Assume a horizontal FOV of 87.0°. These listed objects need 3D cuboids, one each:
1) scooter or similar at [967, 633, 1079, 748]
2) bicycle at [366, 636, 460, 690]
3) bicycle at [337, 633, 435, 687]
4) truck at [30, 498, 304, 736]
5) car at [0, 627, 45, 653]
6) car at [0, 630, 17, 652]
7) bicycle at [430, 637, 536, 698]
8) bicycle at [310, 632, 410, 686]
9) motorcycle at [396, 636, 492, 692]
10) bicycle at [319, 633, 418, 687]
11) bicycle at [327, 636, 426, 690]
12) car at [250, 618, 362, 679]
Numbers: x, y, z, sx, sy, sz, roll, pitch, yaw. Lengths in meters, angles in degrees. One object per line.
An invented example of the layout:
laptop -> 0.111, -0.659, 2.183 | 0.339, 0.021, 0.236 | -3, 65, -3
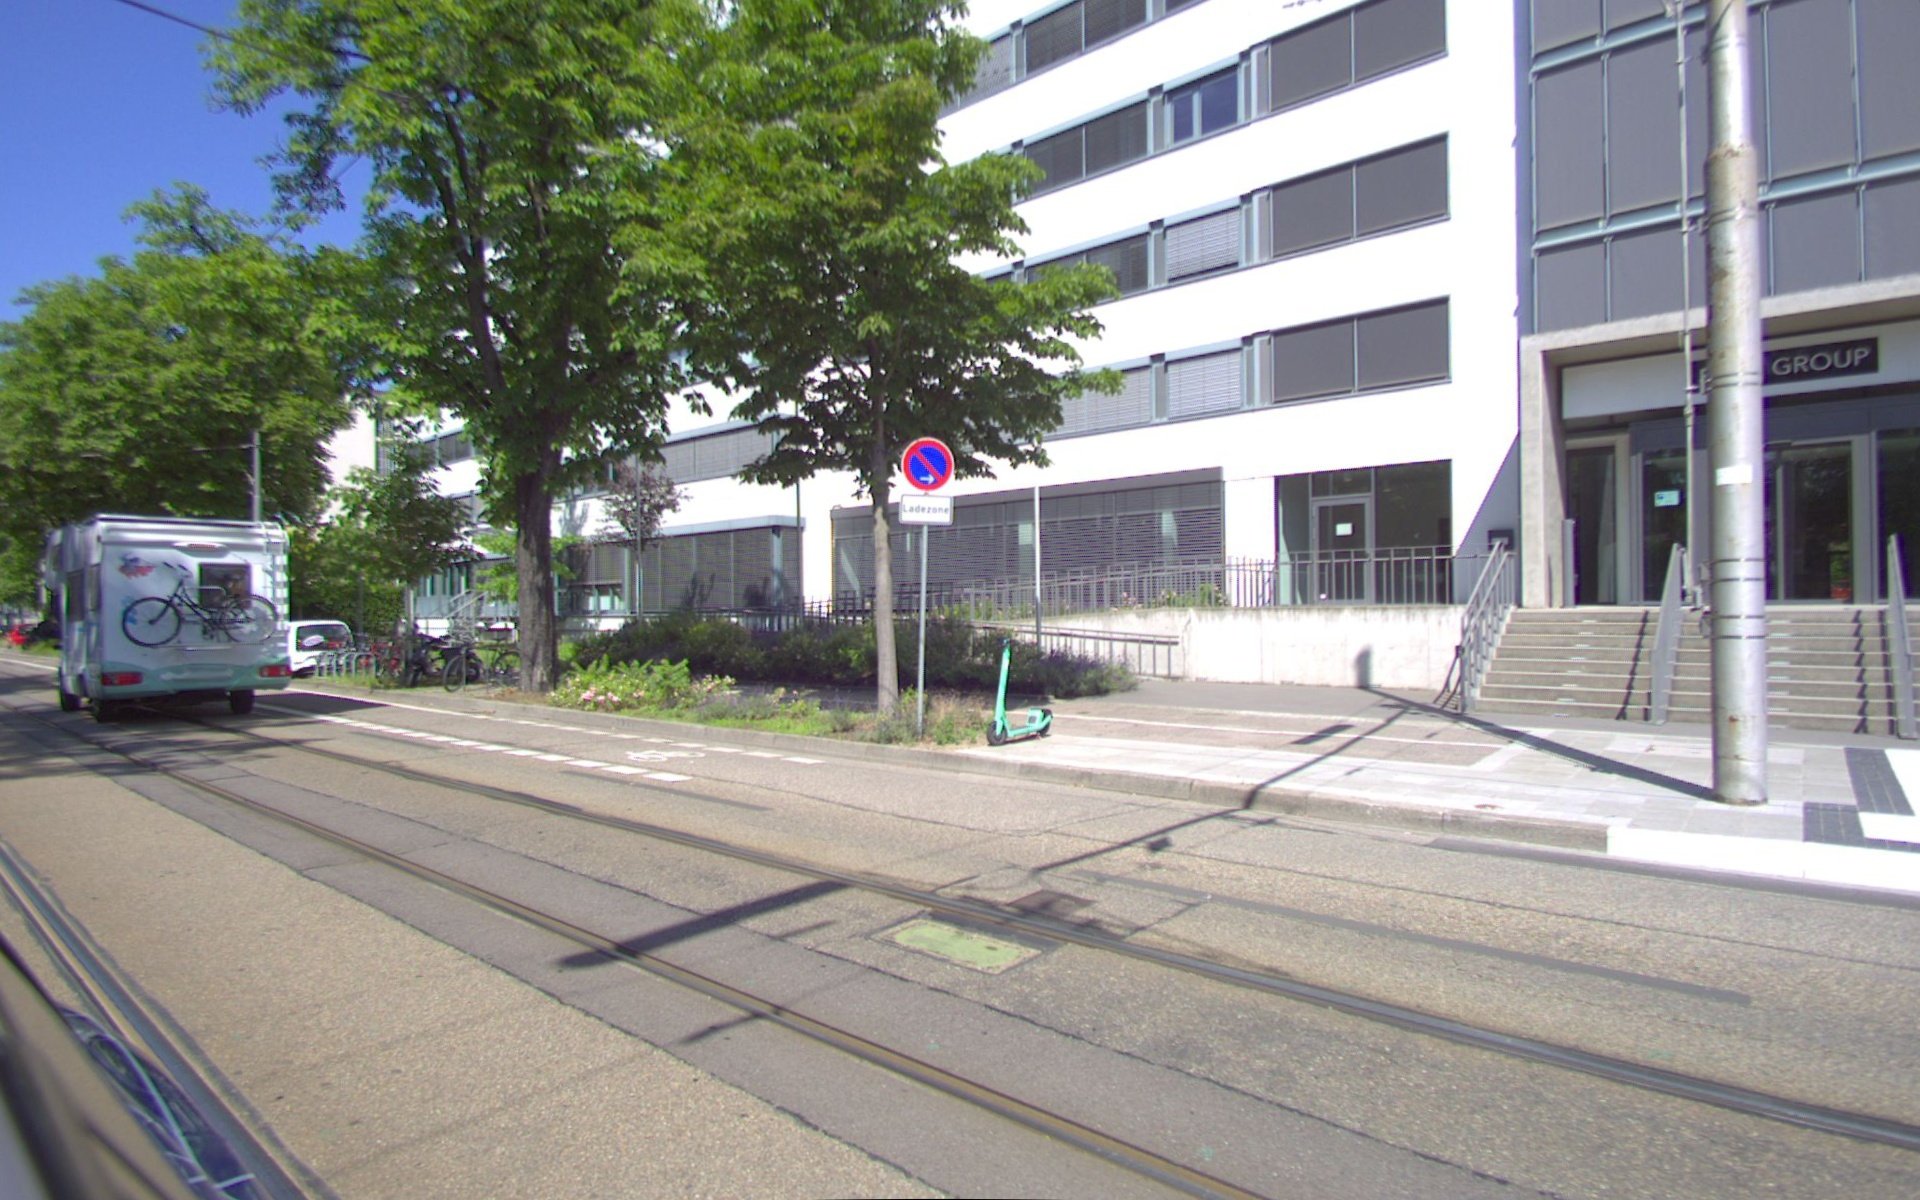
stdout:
scooter or similar -> 0.710, 0.974, 11.257 | 0.676, 1.175, 1.113 | -2, -1, 44
bicycle -> -12.005, 1.371, 22.249 | 0.639, 1.094, 1.706 | -2, -1, 40
bicycle -> -12.829, 1.318, 22.650 | 0.726, 1.094, 1.774 | -2, -1, 40
truck -> -12.812, 0.297, 16.167 | 6.034, 3.132, 2.377 | -2, -2, 41
car -> -56.189, 2.378, 60.550 | 3.716, 1.483, 1.613 | -2, -1, 40
car -> -63.827, 2.716, 66.935 | 3.898, 1.365, 1.613 | -2, -1, 40
bicycle -> -9.321, 1.296, 19.833 | 0.789, 1.094, 1.706 | -2, -1, 41
bicycle -> -14.166, 1.362, 23.937 | 0.818, 1.178, 1.884 | -2, -1, 40
motorcycle -> -10.891, 1.329, 21.401 | 0.658, 1.094, 1.706 | -2, -1, 40
bicycle -> -13.704, 1.368, 23.482 | 0.685, 1.150, 1.853 | -2, -1, 40
bicycle -> -13.239, 1.402, 22.982 | 0.680, 1.140, 1.830 | -2, -1, 40
car -> -17.174, 1.231, 26.534 | 3.630, 1.483, 1.612 | -2, -1, 43
